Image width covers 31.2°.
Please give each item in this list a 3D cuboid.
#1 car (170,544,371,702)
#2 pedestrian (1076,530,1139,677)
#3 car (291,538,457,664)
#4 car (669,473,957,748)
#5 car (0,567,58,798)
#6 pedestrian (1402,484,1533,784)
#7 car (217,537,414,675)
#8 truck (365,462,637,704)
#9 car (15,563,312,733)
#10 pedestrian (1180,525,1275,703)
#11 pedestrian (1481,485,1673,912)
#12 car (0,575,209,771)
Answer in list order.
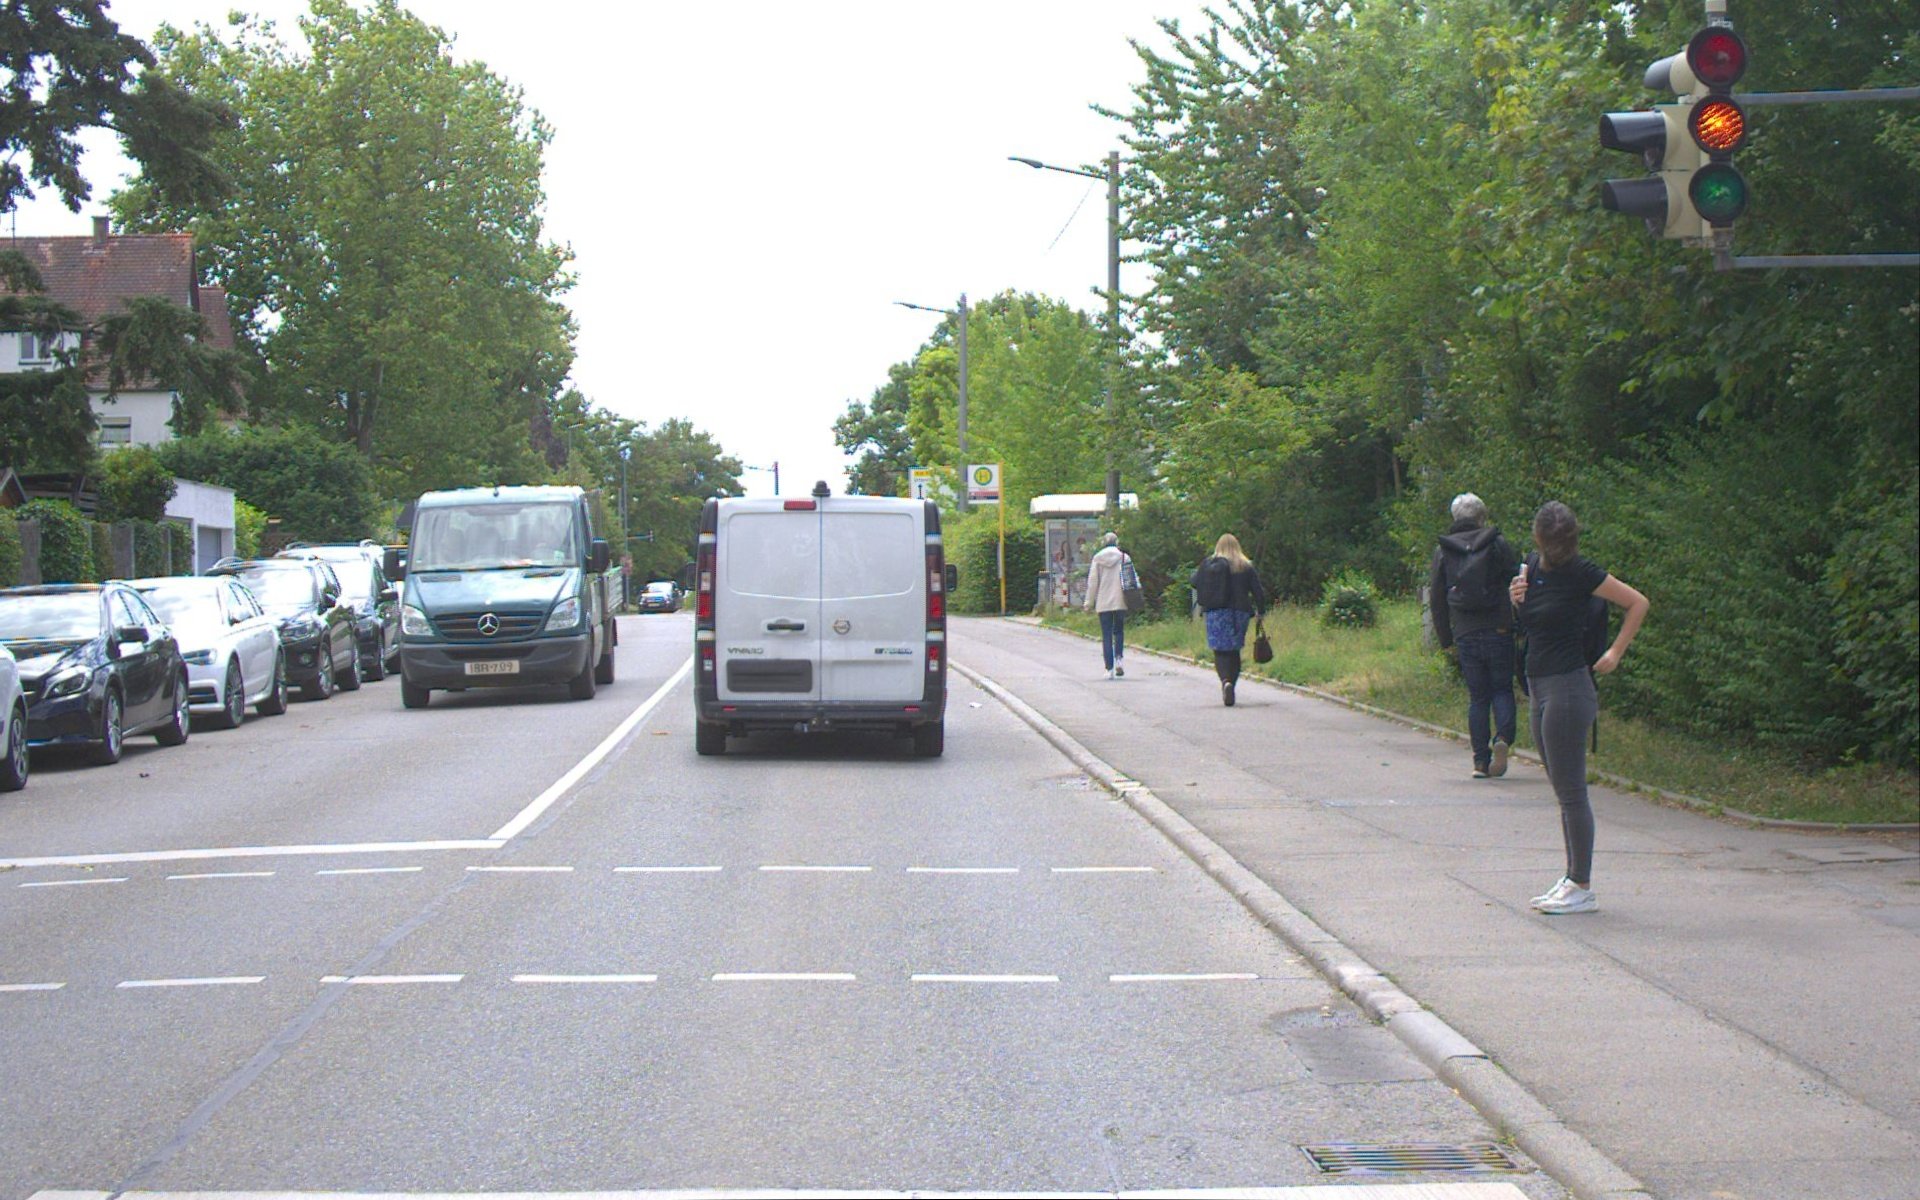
[{"bbox_3d":[-8.103,0.221,40.722,1.626,1.672,4.584,-3,1,-3],"label":"car"},{"bbox_3d":[1.679,0.039,39.211,0.686,1.653,0.690,1,0,2],"label":"pedestrian"},{"bbox_3d":[-8.905,-0.029,52.615,1.984,1.813,4.708,-1,1,-3],"label":"car"},{"bbox_3d":[-1.181,0.050,27.059,2.034,1.939,4.994,1,1,-3],"label":"car"},{"bbox_3d":[-7.325,0.602,22.788,1.702,1.538,3.743,-2,1,-1],"label":"car"},{"bbox_3d":[3.236,0.207,21.991,0.745,1.876,0.801,1,0,4],"label":"pedestrian"},{"bbox_3d":[-8.663,0.049,46.589,2.066,1.748,4.884,1,1,-4],"label":"car"},{"bbox_3d":[-4.948,-0.239,38.111,2.189,2.363,6.905,-2,1,-2],"label":"truck"},{"bbox_3d":[-7.789,0.414,34.090,1.805,1.454,5.069,-2,1,-1],"label":"car"},{"bbox_3d":[2.529,0.131,32.557,0.840,1.653,0.766,1,0,2],"label":"pedestrian"},{"bbox_3d":[2.464,0.381,13.779,0.647,1.658,0.708,1,0,3],"label":"pedestrian"},{"bbox_3d":[-7.509,0.560,28.219,1.743,1.405,4.323,-2,1,-1],"label":"car"}]
